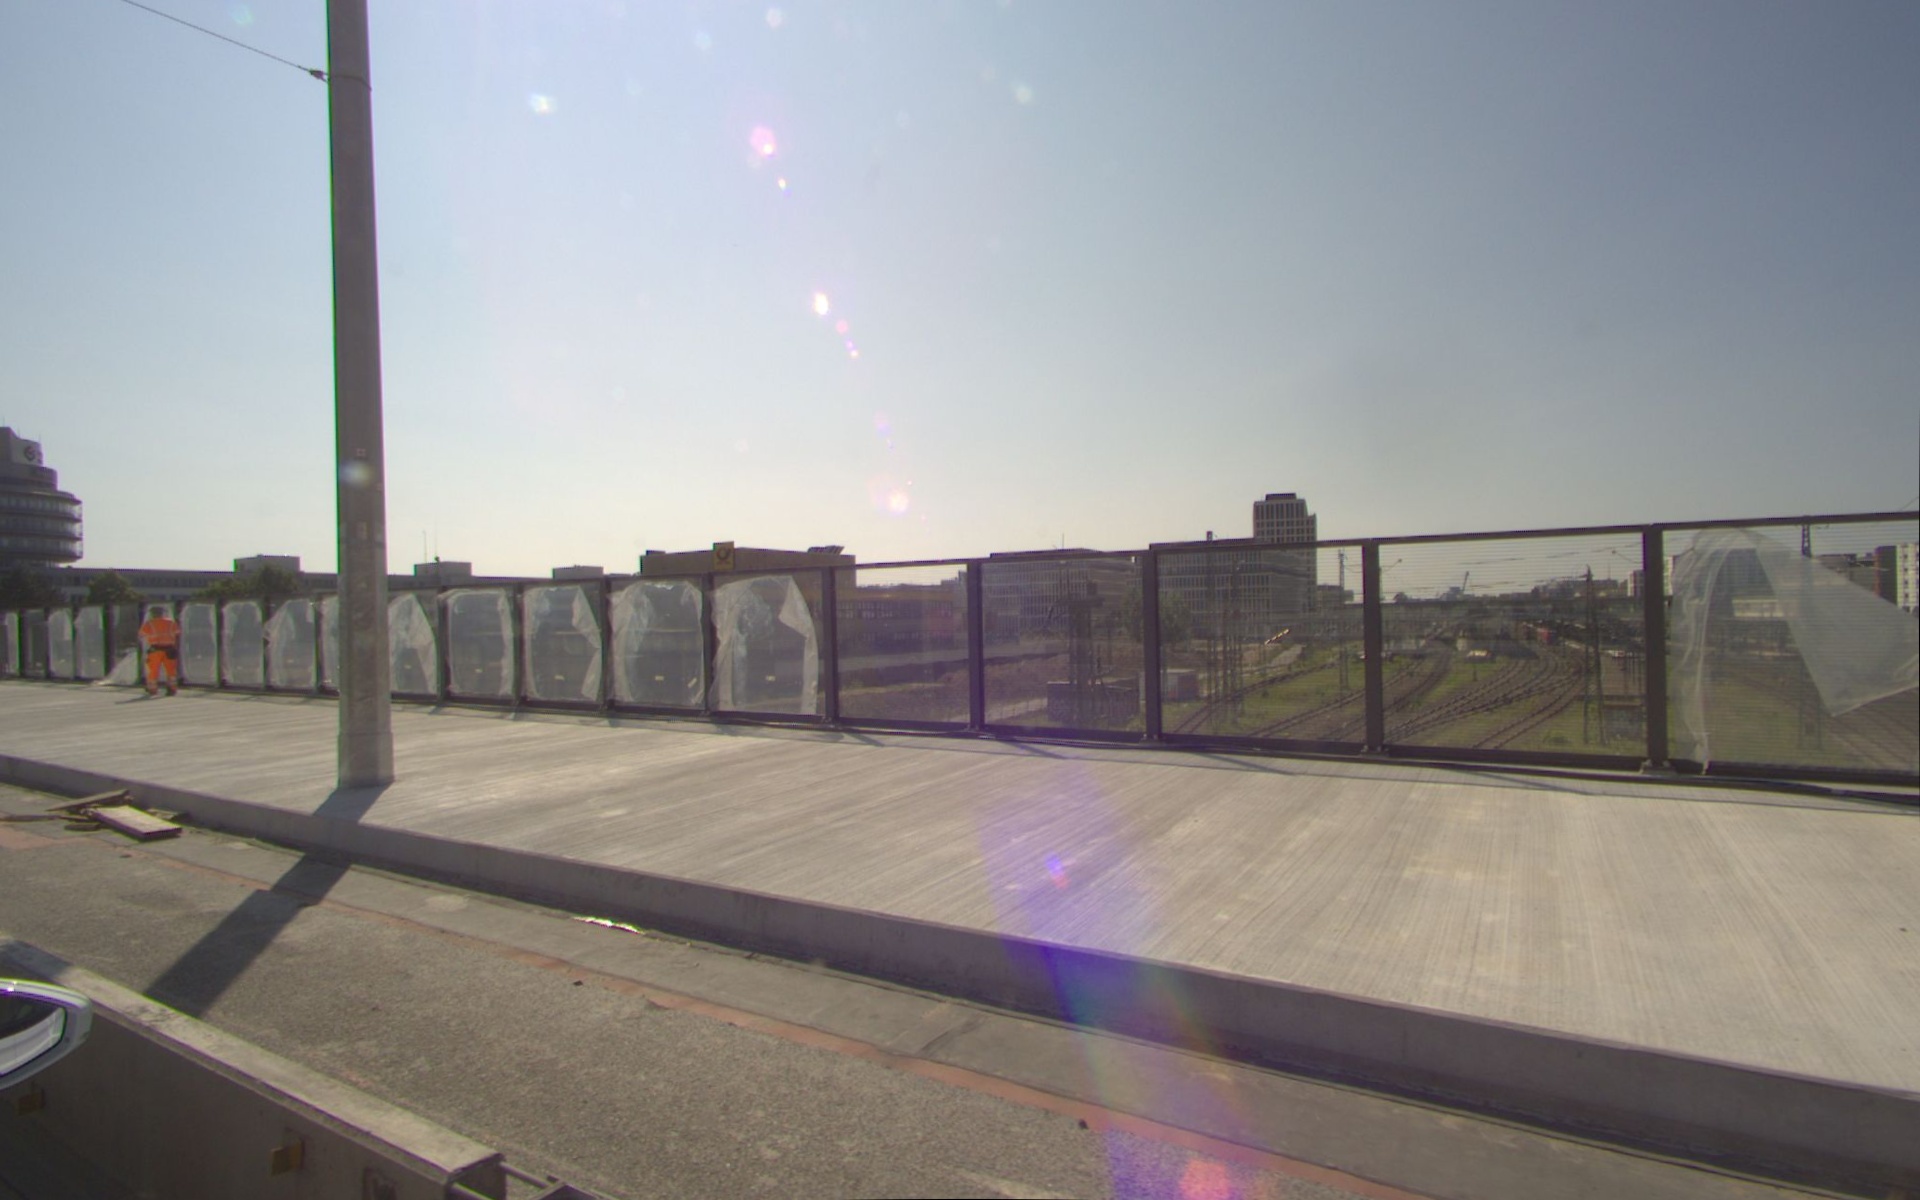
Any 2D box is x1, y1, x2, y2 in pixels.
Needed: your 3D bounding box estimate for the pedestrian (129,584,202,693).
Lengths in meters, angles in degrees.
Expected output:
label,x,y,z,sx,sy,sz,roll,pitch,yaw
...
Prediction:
label,x,y,z,sx,sy,sz,roll,pitch,yaw
pedestrian,-15.069,0.717,18.993,1.002,1.991,0.729,-1,1,33
